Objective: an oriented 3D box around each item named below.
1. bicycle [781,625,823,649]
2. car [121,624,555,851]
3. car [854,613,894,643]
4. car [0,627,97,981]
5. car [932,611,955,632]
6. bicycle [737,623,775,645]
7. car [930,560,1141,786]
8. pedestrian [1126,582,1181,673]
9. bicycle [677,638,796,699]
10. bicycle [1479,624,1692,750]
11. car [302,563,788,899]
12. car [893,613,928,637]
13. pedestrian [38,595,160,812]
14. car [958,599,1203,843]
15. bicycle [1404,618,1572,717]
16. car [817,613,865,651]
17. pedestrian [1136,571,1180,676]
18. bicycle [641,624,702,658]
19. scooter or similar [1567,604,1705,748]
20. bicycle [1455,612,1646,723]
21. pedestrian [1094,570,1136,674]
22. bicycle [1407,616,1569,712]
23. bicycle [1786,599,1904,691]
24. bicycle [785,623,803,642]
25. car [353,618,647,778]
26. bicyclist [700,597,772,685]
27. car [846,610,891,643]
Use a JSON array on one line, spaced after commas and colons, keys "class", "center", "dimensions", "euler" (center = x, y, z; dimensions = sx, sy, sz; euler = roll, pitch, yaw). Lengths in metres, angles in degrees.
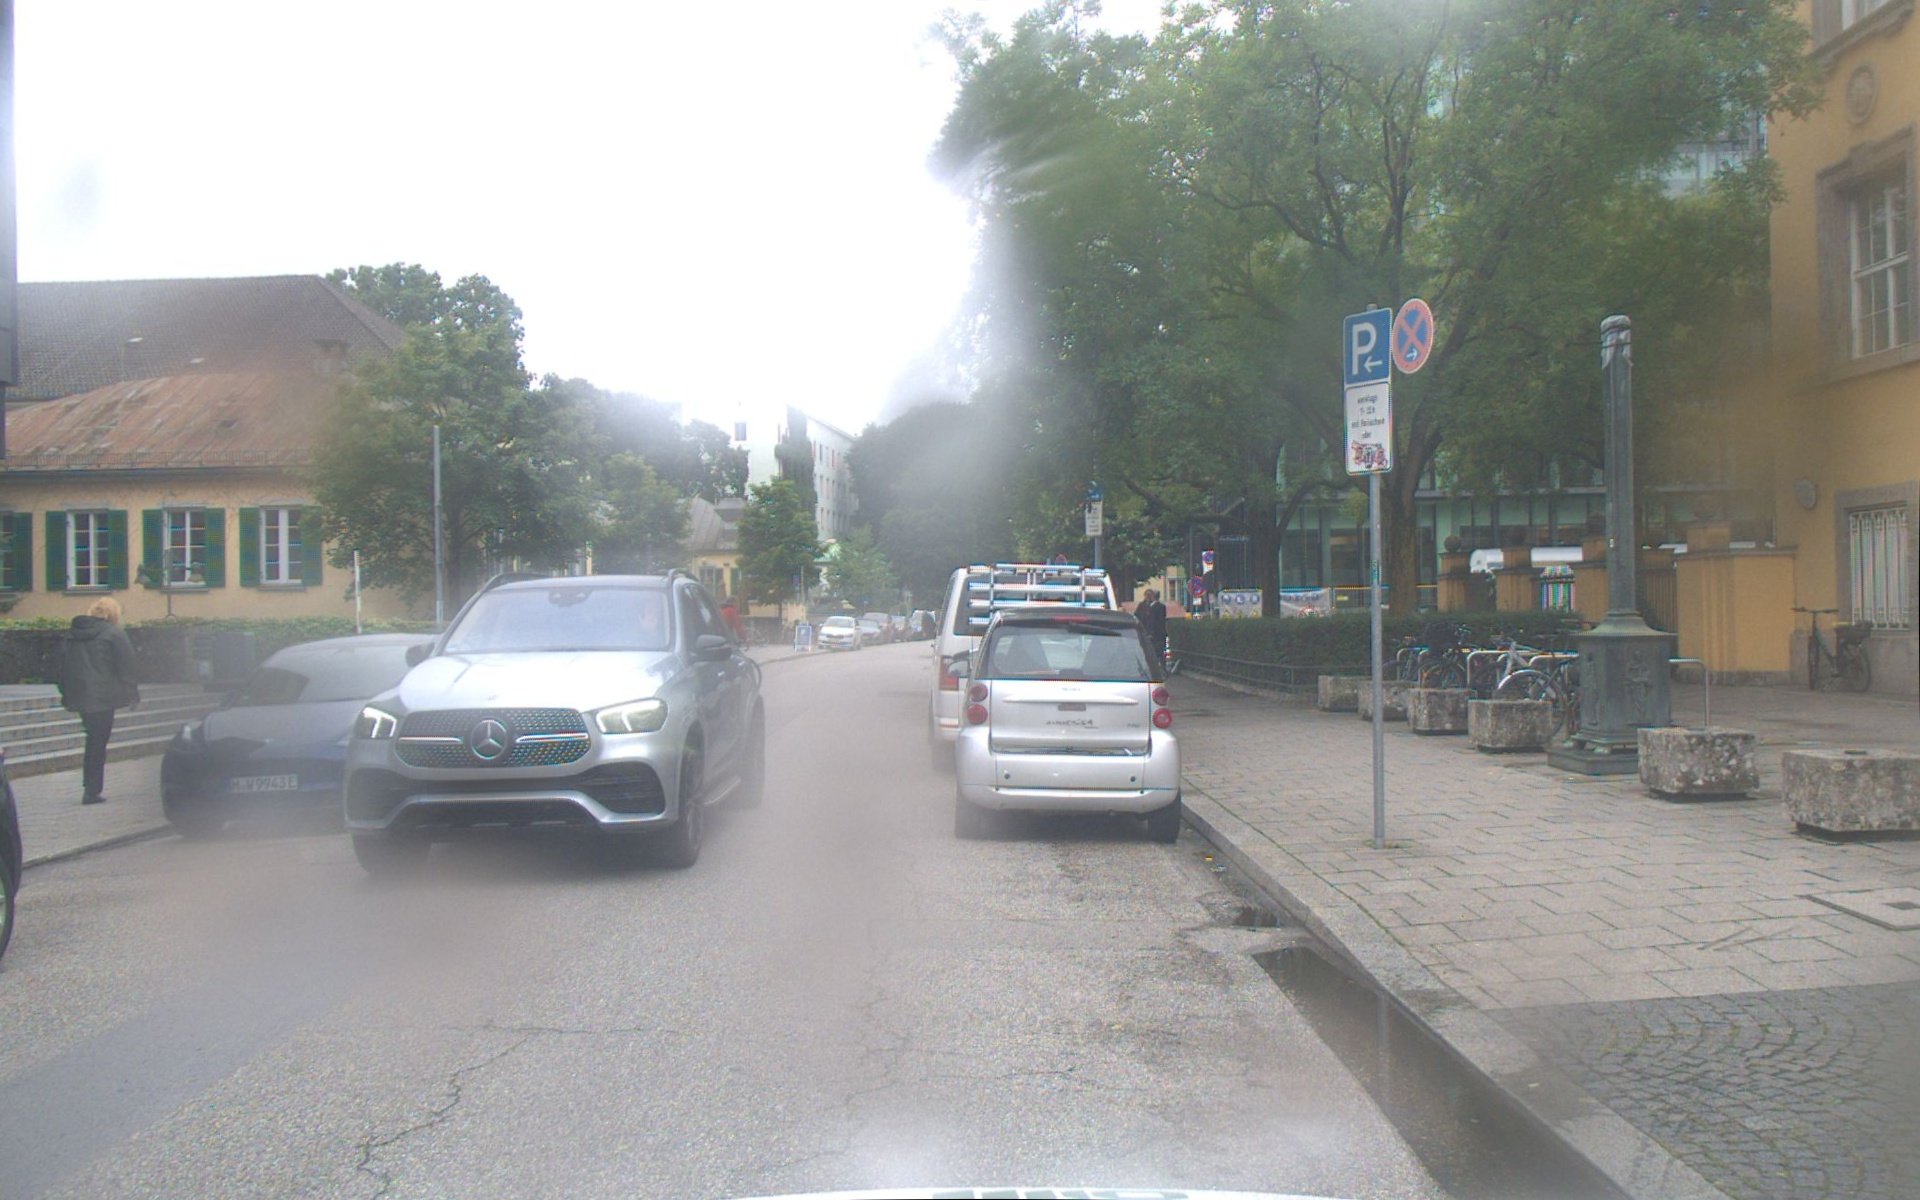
[{"class": "bicycle", "center": [-6.741, 1.569, 70.588], "dimensions": [0.610, 1.022, 2.134], "euler": [1, 0, 32]}, {"class": "car", "center": [-4.912, 0.991, 13.925], "dimensions": [1.884, 1.464, 4.915], "euler": [-3, -1, -2]}, {"class": "car", "center": [-4.796, 1.563, 92.786], "dimensions": [1.952, 1.631, 4.000], "euler": [-1, -1, 1]}, {"class": "car", "center": [-4.960, 0.906, 5.626], "dimensions": [1.704, 1.486, 4.237], "euler": [-3, 0, 1]}, {"class": "car", "center": [-1.429, 1.802, 142.007], "dimensions": [1.773, 1.712, 4.001], "euler": [-1, 0, 2]}, {"class": "bicycle", "center": [-9.215, 1.548, 74.856], "dimensions": [1.593, 0.942, 0.646], "euler": [0, -2, -25]}, {"class": "car", "center": [0.631, 0.674, 17.438], "dimensions": [1.808, 1.967, 5.271], "euler": [2, 0, -2]}, {"class": "pedestrian", "center": [4.239, 0.597, 36.218], "dimensions": [0.729, 1.941, 1.052], "euler": [-2, -1, 35]}, {"class": "bicycle", "center": [-3.966, 1.206, 29.489], "dimensions": [2.121, 1.022, 0.614], "euler": [0, -3, -41]}, {"class": "bicycle", "center": [6.137, 0.841, 16.255], "dimensions": [1.893, 1.133, 0.471], "euler": [-2, -1, -4]}, {"class": "car", "center": [-2.444, 0.705, 11.104], "dimensions": [1.983, 1.719, 4.677], "euler": [-2, 0, 1]}, {"class": "car", "center": [-3.293, 1.688, 110.650], "dimensions": [1.952, 1.512, 4.002], "euler": [-1, 0, 4]}, {"class": "pedestrian", "center": [-7.350, 0.856, 14.160], "dimensions": [0.741, 1.780, 0.948], "euler": [-1, -1, -16]}, {"class": "car", "center": [0.793, 0.806, 12.338], "dimensions": [1.572, 1.573, 2.933], "euler": [1, 0, 0]}, {"class": "bicycle", "center": [6.536, 0.827, 20.522], "dimensions": [1.891, 1.133, 0.471], "euler": [-2, -1, 1]}, {"class": "car", "center": [-5.385, 1.422, 75.113], "dimensions": [1.697, 1.609, 3.788], "euler": [2, 0, 3]}, {"class": "pedestrian", "center": [4.179, 0.490, 35.007], "dimensions": [0.727, 2.172, 1.055], "euler": [-2, -1, -1]}, {"class": "bicycle", "center": [-9.709, 1.380, 55.675], "dimensions": [1.890, 1.118, 0.615], "euler": [1, -1, 2]}, {"class": "scooter or similar", "center": [6.109, 0.682, 14.964], "dimensions": [0.995, 1.243, 0.534], "euler": [-3, -1, 45]}, {"class": "bicycle", "center": [6.495, 0.734, 18.226], "dimensions": [1.891, 1.133, 0.471], "euler": [-2, -1, 1]}, {"class": "pedestrian", "center": [3.309, 0.460, 35.410], "dimensions": [0.727, 2.172, 1.055], "euler": [-2, -1, -1]}, {"class": "bicycle", "center": [6.792, 0.819, 21.315], "dimensions": [1.892, 1.133, 0.471], "euler": [-2, -1, 1]}, {"class": "bicycle", "center": [12.070, 0.589, 22.623], "dimensions": [0.531, 1.174, 1.901], "euler": [-2, 0, -2]}, {"class": "bicycle", "center": [-8.717, 1.713, 86.805], "dimensions": [0.608, 1.022, 1.619], "euler": [-1, -2, 5]}, {"class": "car", "center": [-5.117, 1.023, 19.184], "dimensions": [1.953, 1.517, 4.883], "euler": [-3, -1, 0]}, {"class": "bicyclist", "center": [-3.997, 0.733, 29.496], "dimensions": [1.085, 1.524, 0.664], "euler": [1, -3, -41]}, {"class": "car", "center": [-4.828, 1.393, 87.708], "dimensions": [1.952, 1.677, 4.656], "euler": [-1, 0, 2]}]
